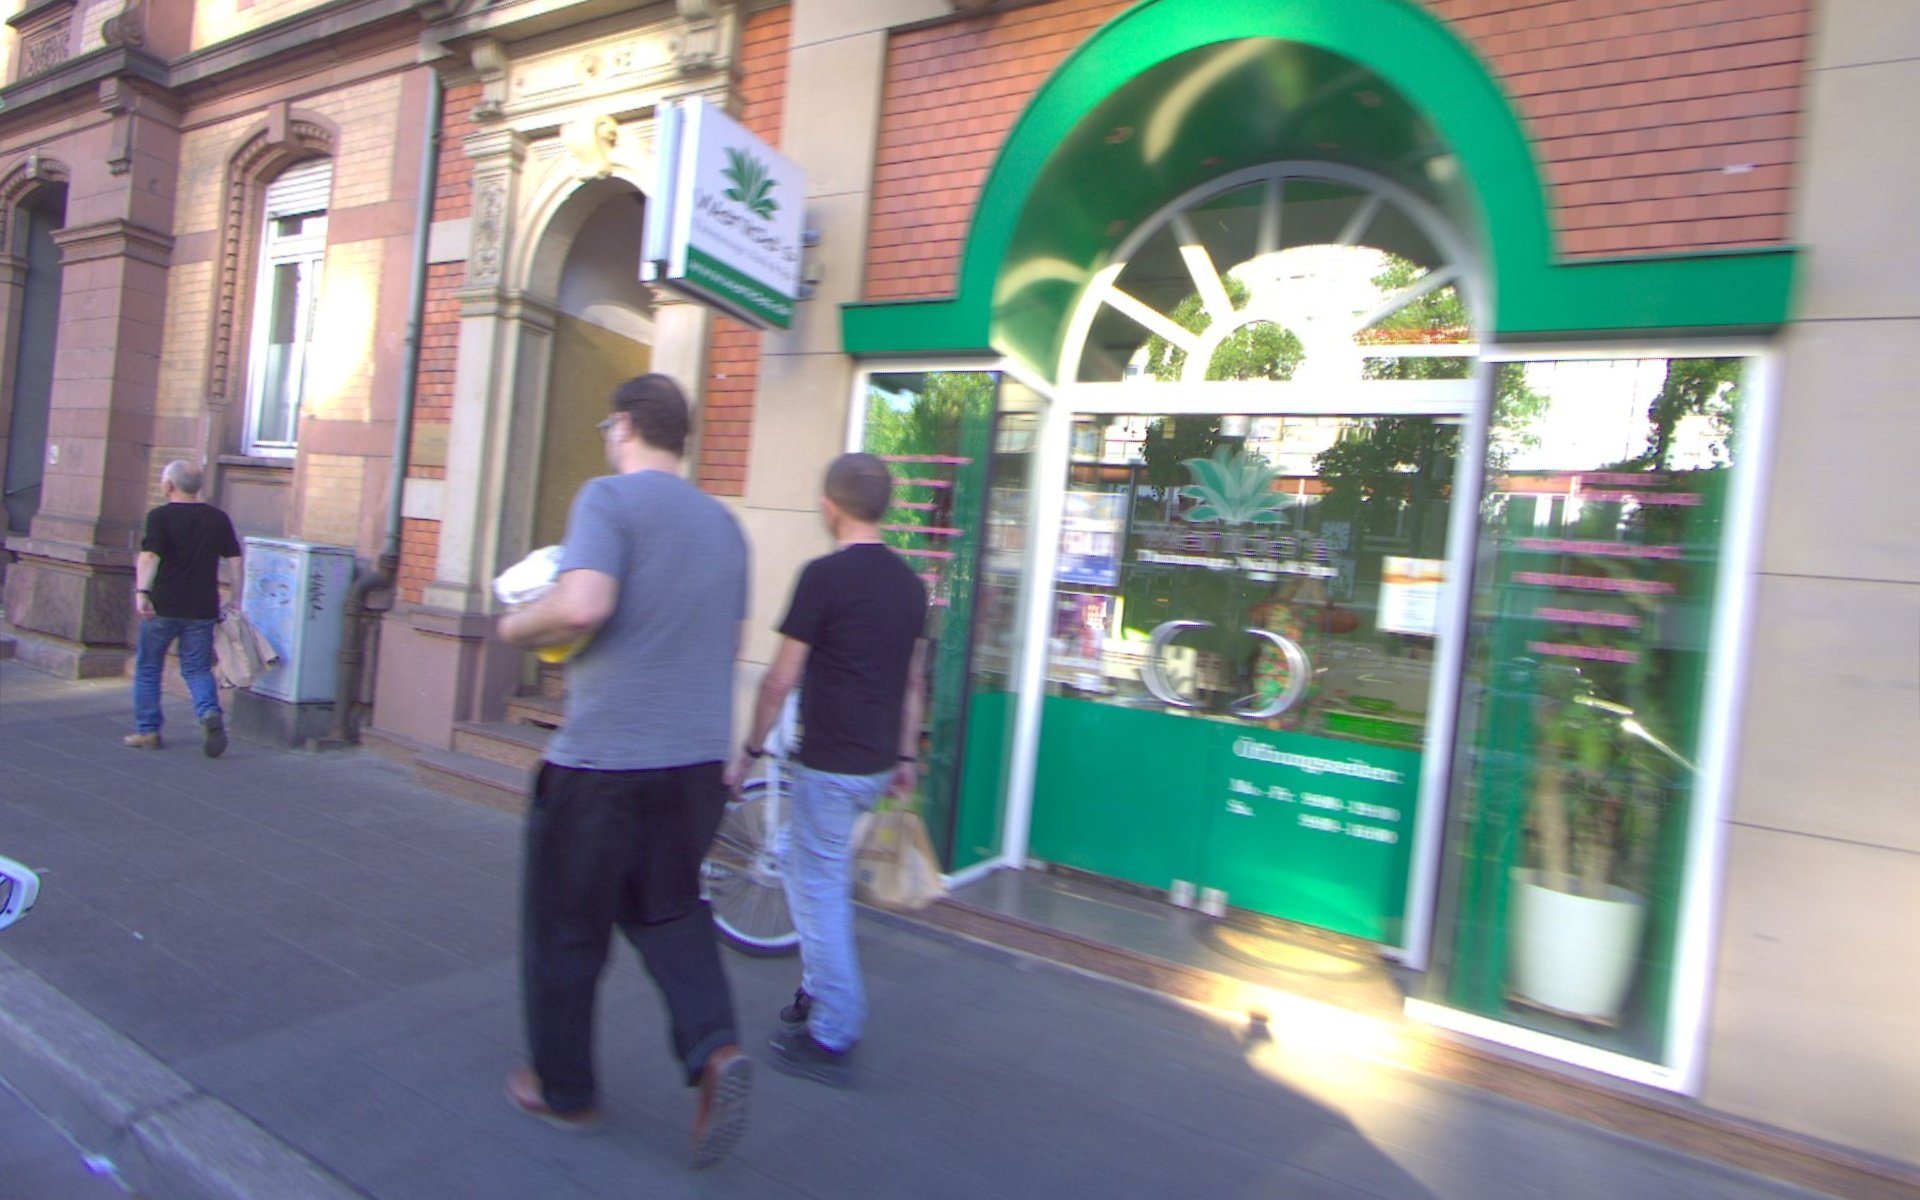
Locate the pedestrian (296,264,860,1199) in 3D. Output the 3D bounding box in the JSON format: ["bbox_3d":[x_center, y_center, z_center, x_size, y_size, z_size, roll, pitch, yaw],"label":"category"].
[{"bbox_3d":[-0.858,0.342,2.362,0.741,1.919,0.822,6,2,30],"label":"pedestrian"}]

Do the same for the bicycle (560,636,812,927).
[{"bbox_3d":[-1.236,0.729,4.416,1.222,1.009,0.344,6,2,39],"label":"bicycle"}]

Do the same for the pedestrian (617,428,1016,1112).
[{"bbox_3d":[-0.414,0.425,3.069,0.741,1.746,0.776,6,2,30],"label":"pedestrian"}]

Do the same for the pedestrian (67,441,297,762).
[{"bbox_3d":[-4.624,-0.001,5.997,0.741,1.746,0.776,6,2,30],"label":"pedestrian"}]
